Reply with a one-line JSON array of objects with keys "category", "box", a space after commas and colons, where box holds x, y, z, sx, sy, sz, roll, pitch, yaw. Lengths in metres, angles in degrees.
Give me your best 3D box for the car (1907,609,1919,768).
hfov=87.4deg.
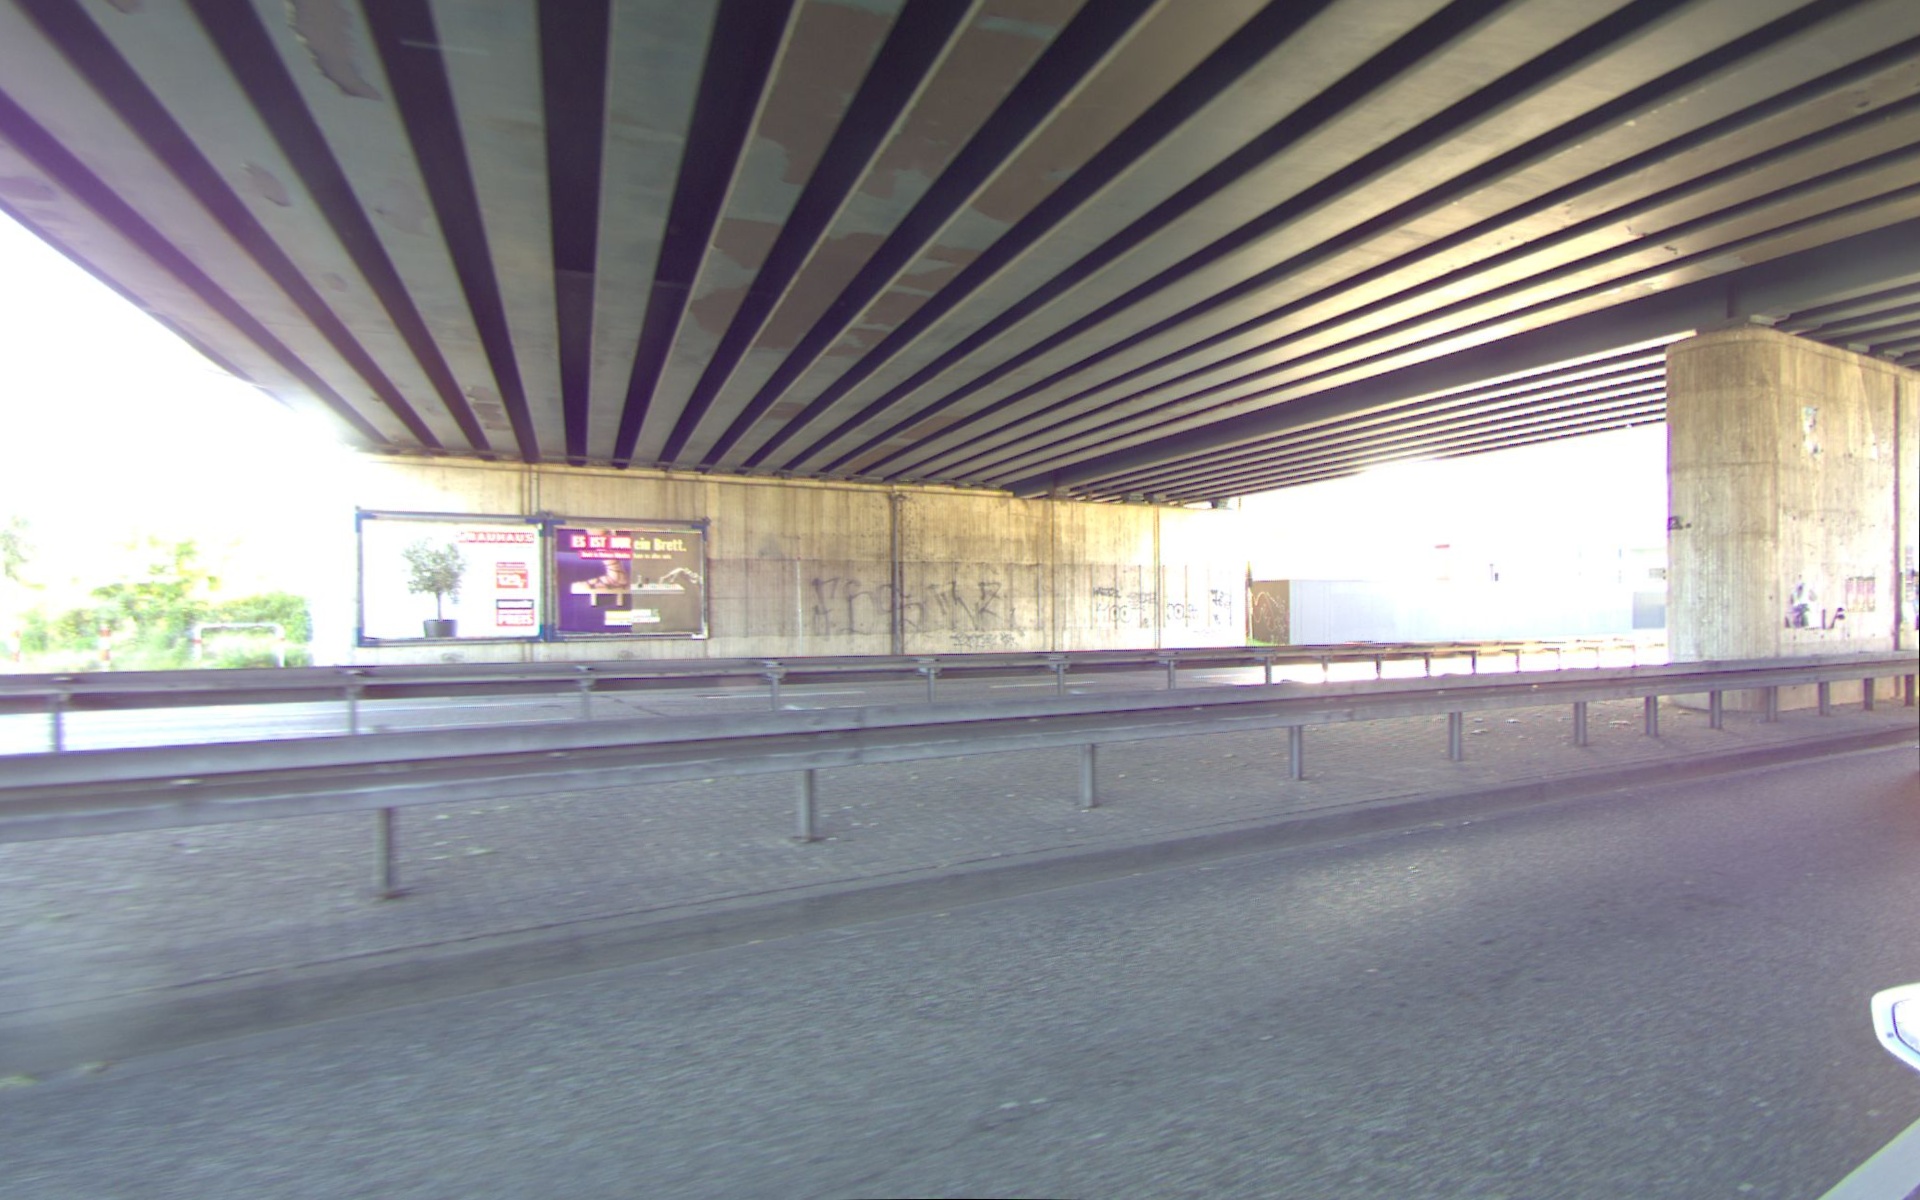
[{"category": "car", "box": [10.636, 0.820, 9.356, 3.769, 1.429, 1.684, 1, 0, -31]}]
